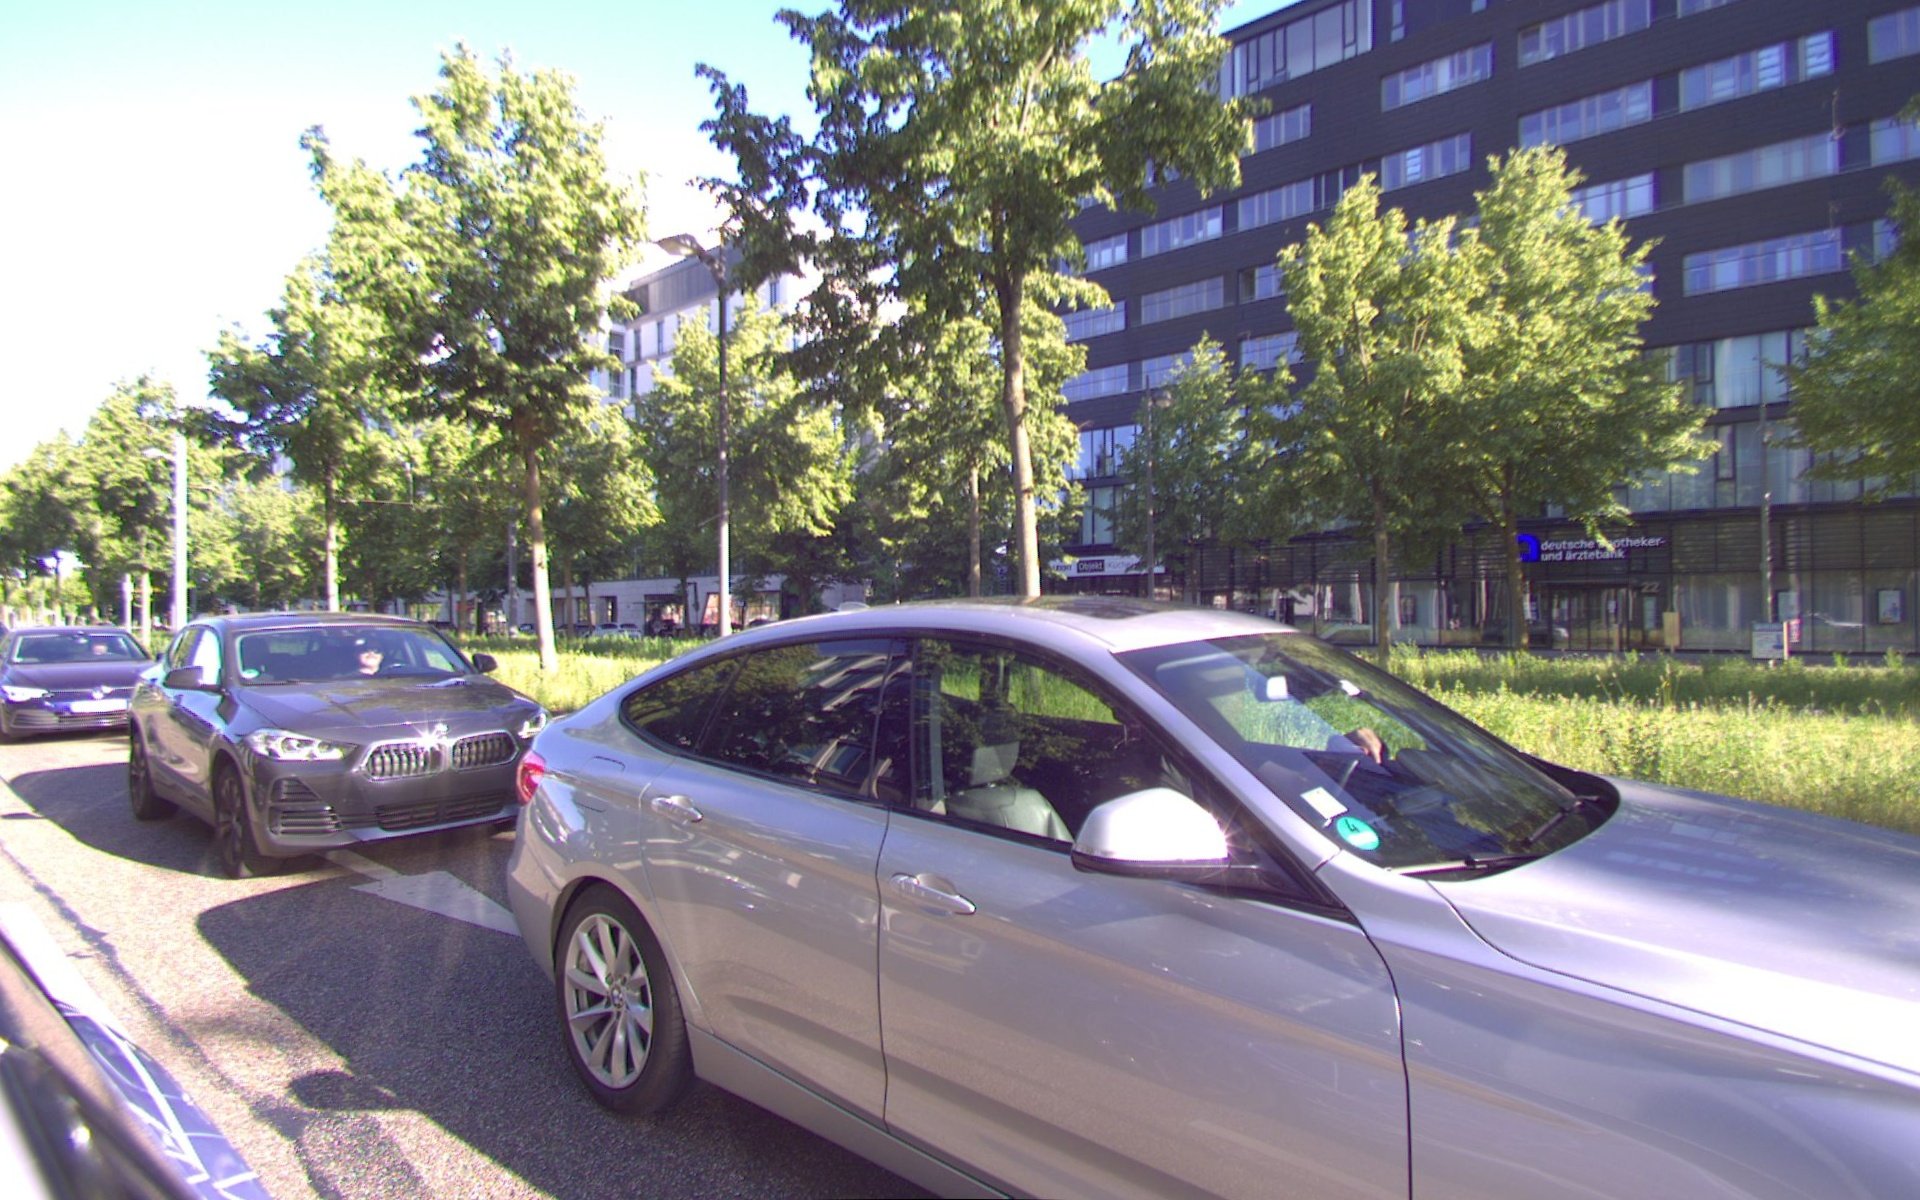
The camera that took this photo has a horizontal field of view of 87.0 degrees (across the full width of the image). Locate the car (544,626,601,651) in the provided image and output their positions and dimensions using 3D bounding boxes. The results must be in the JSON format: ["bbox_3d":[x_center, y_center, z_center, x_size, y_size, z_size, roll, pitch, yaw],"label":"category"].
[{"bbox_3d":[-25.700,2.525,67.061,4.182,1.609,1.859,-2,-1,41],"label":"car"}]

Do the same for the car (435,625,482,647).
[{"bbox_3d":[-38.670,2.736,77.981,4.182,1.609,1.859,-2,-1,41],"label":"car"}]

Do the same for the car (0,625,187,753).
[{"bbox_3d":[-12.059,1.076,13.677,4.344,1.434,1.854,-1,-1,43],"label":"car"}]

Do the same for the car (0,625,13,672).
[{"bbox_3d":[-34.598,1.697,35.379,4.344,1.598,1.854,-1,-1,43],"label":"car"}]

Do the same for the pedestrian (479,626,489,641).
[{"bbox_3d":[-42.630,3.019,90.690,0.660,1.349,0.597,-2,-1,41],"label":"pedestrian"}]

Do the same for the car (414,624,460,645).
[{"bbox_3d":[-42.132,2.782,81.487,4.182,1.609,1.859,-2,-1,41],"label":"car"}]

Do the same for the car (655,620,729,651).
[{"bbox_3d":[-14.618,1.923,55.164,4.182,1.609,1.926,-2,-1,41],"label":"car"}]

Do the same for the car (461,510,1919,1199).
[{"bbox_3d":[0.633,0.681,2.606,4.558,1.495,1.800,-1,-1,40],"label":"car"}]

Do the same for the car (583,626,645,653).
[{"bbox_3d":[-21.638,2.466,63.204,4.182,1.609,1.859,-2,-1,41],"label":"car"}]

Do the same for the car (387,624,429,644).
[{"bbox_3d":[-46.587,2.852,85.384,4.182,1.609,1.859,-2,-1,41],"label":"car"}]

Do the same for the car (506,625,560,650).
[{"bbox_3d":[-29.729,2.590,70.473,4.182,1.609,1.859,-2,-1,41],"label":"car"}]

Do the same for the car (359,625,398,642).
[{"bbox_3d":[-51.419,2.953,89.433,4.001,1.406,1.971,-2,-2,44],"label":"car"}]

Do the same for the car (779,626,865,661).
[{"bbox_3d":[-6.768,2.076,49.393,4.182,1.609,1.926,-2,-1,41],"label":"car"}]

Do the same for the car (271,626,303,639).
[{"bbox_3d":[-72.531,3.500,109.071,3.998,1.406,1.972,-2,-2,41],"label":"car"}]

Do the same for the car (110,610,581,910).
[{"bbox_3d":[-4.483,0.844,7.123,4.000,1.502,1.836,-2,-1,43],"label":"car"}]

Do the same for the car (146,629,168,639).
[{"bbox_3d":[-114.624,4.815,144.505,4.001,1.406,1.971,-2,-2,44],"label":"car"}]

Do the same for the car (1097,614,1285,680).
[{"bbox_3d":[6.092,1.199,27.020,4.566,1.494,1.781,-1,2,41],"label":"car"}]
